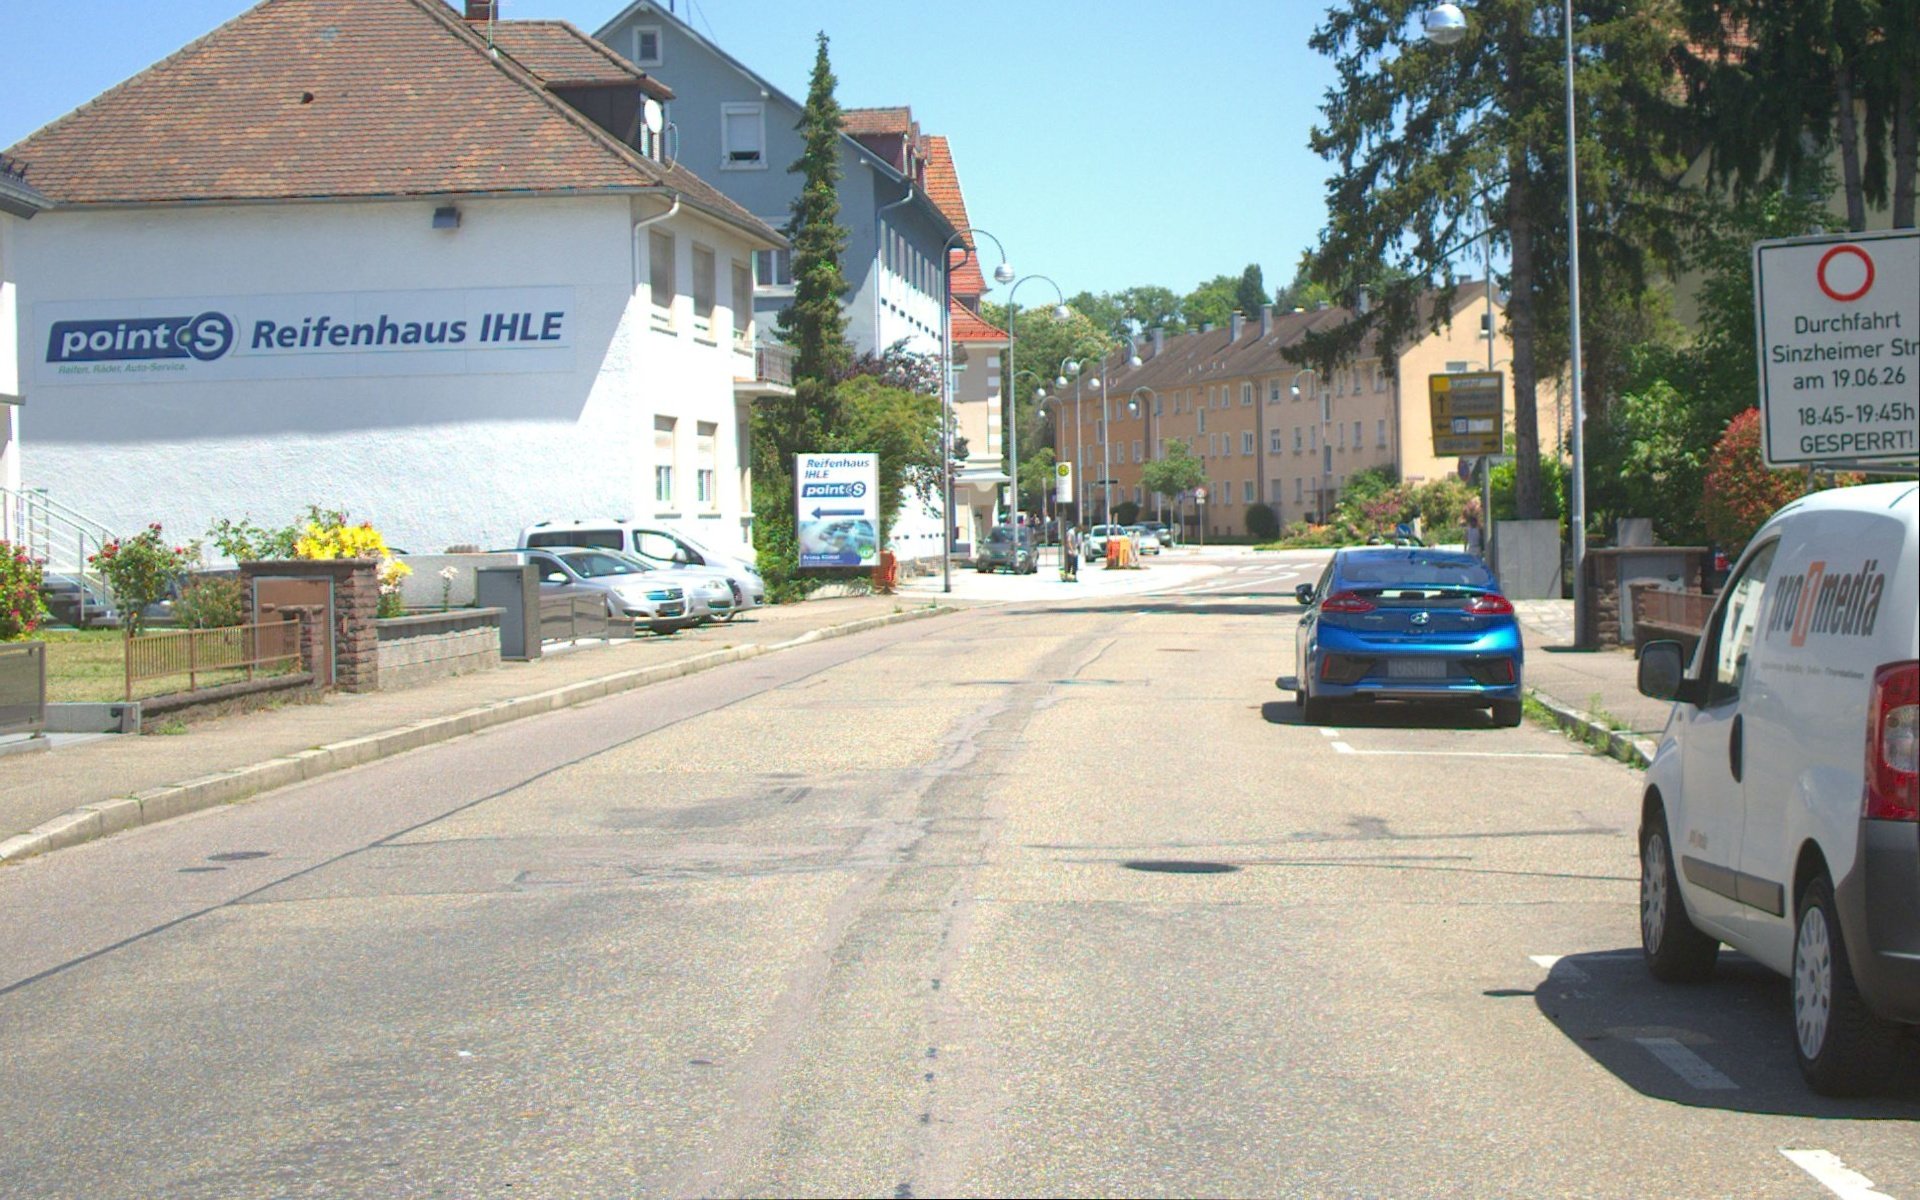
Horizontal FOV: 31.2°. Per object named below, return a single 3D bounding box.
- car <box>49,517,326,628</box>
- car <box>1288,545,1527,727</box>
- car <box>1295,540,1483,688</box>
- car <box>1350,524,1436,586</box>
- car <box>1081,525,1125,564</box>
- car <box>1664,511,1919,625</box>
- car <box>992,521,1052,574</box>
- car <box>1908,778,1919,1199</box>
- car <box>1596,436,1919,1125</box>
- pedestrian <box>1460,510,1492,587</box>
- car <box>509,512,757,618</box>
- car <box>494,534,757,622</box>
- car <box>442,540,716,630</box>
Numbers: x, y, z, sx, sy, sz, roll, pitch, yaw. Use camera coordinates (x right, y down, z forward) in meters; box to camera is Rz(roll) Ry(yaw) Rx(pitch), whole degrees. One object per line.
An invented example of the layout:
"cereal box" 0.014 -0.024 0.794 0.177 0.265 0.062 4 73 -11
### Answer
"car" -11.071 -0.421 49.169 3.996 1.505 1.796 1 2 40
"car" 3.800 0.256 29.776 1.778 1.401 4.286 1 1 4
"car" 4.477 0.104 36.348 1.725 1.414 4.013 1 1 4
"car" 10.976 -1.164 86.962 1.795 1.505 3.998 0 2 13
"car" 6.006 -2.340 144.486 1.595 1.601 3.411 0 1 -2
"car" 12.349 -0.478 49.841 3.987 1.605 1.833 0 1 4
"car" 2.002 -1.680 110.031 1.757 1.650 4.000 0 1 4
"car" 2.956 0.697 5.735 1.664 1.450 4.000 1 1 1
"car" 3.155 0.473 10.734 1.664 1.749 4.000 2 0 2
"pedestrian" 11.905 -1.183 79.297 0.689 1.764 0.691 0 -1 11
"car" -5.669 -0.622 59.888 4.128 1.768 1.829 -1 1 0
"car" -5.547 -0.372 57.338 4.129 1.389 1.828 -1 1 3
"car" -6.046 -0.256 54.399 4.138 1.339 1.907 1 2 38
